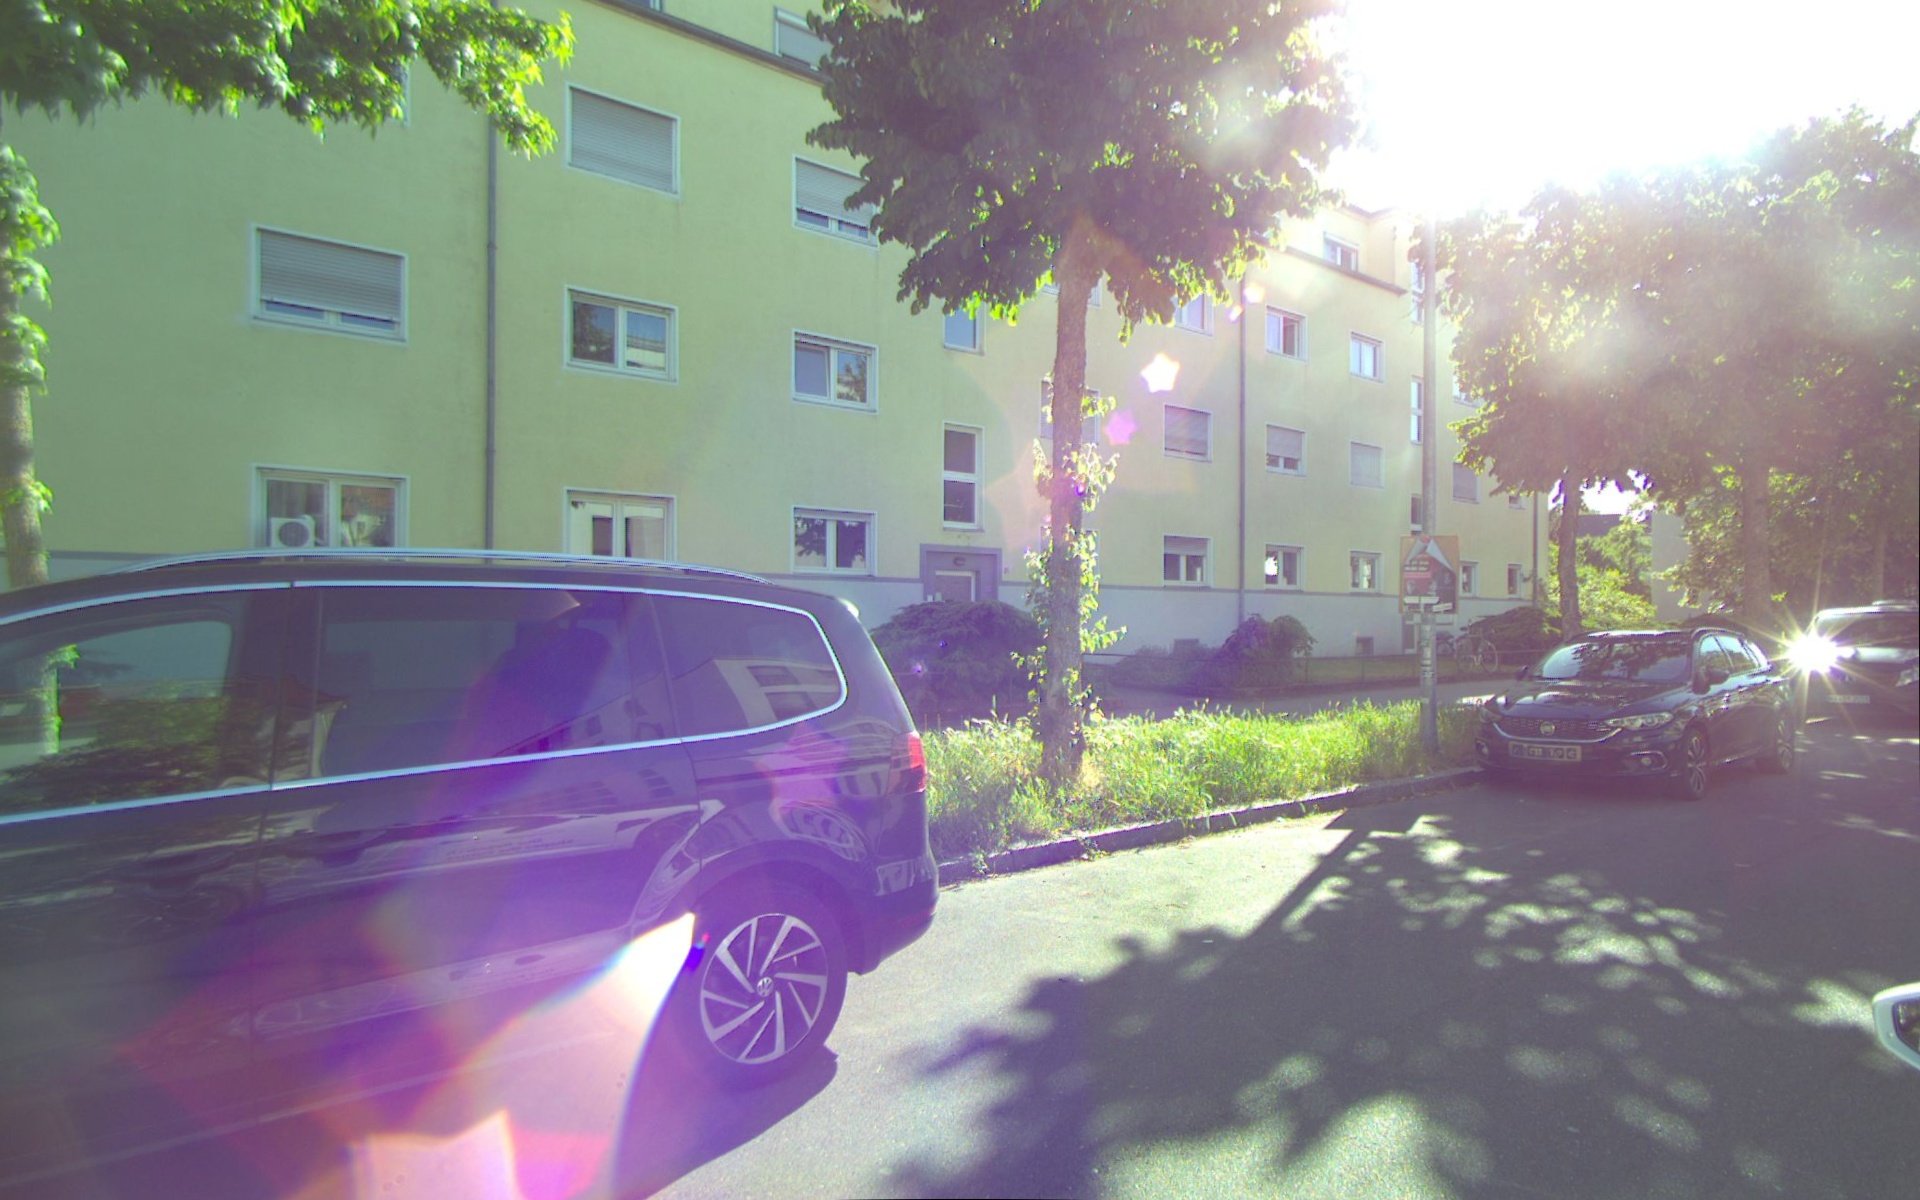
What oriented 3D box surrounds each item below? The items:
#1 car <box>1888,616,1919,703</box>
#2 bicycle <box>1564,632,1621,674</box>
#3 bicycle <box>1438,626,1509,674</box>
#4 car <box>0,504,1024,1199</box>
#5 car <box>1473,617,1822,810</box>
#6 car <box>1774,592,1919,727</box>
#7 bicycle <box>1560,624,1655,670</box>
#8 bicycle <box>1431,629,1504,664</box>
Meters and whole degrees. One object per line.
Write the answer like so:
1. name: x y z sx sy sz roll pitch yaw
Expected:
1. car: 19.879 1.144 19.902 4.194 1.632 1.599 1 -2 -39
2. bicycle: 16.006 1.313 25.406 1.910 1.005 0.590 1 -1 -37
3. bicycle: 11.229 1.067 21.941 1.910 1.005 0.590 1 -1 -37
4. car: -2.278 0.700 3.060 4.930 1.702 1.836 1 -3 -37
5. car: 7.145 1.001 10.235 4.735 1.568 1.497 1 -3 -38
6. car: 15.326 0.908 16.484 5.093 1.929 1.814 1 -2 -36
7. bicycle: 17.846 1.282 27.717 2.122 1.225 0.686 -1 -2 43
8. bicycle: 15.402 1.396 30.513 0.592 1.005 1.903 1 -1 -43
